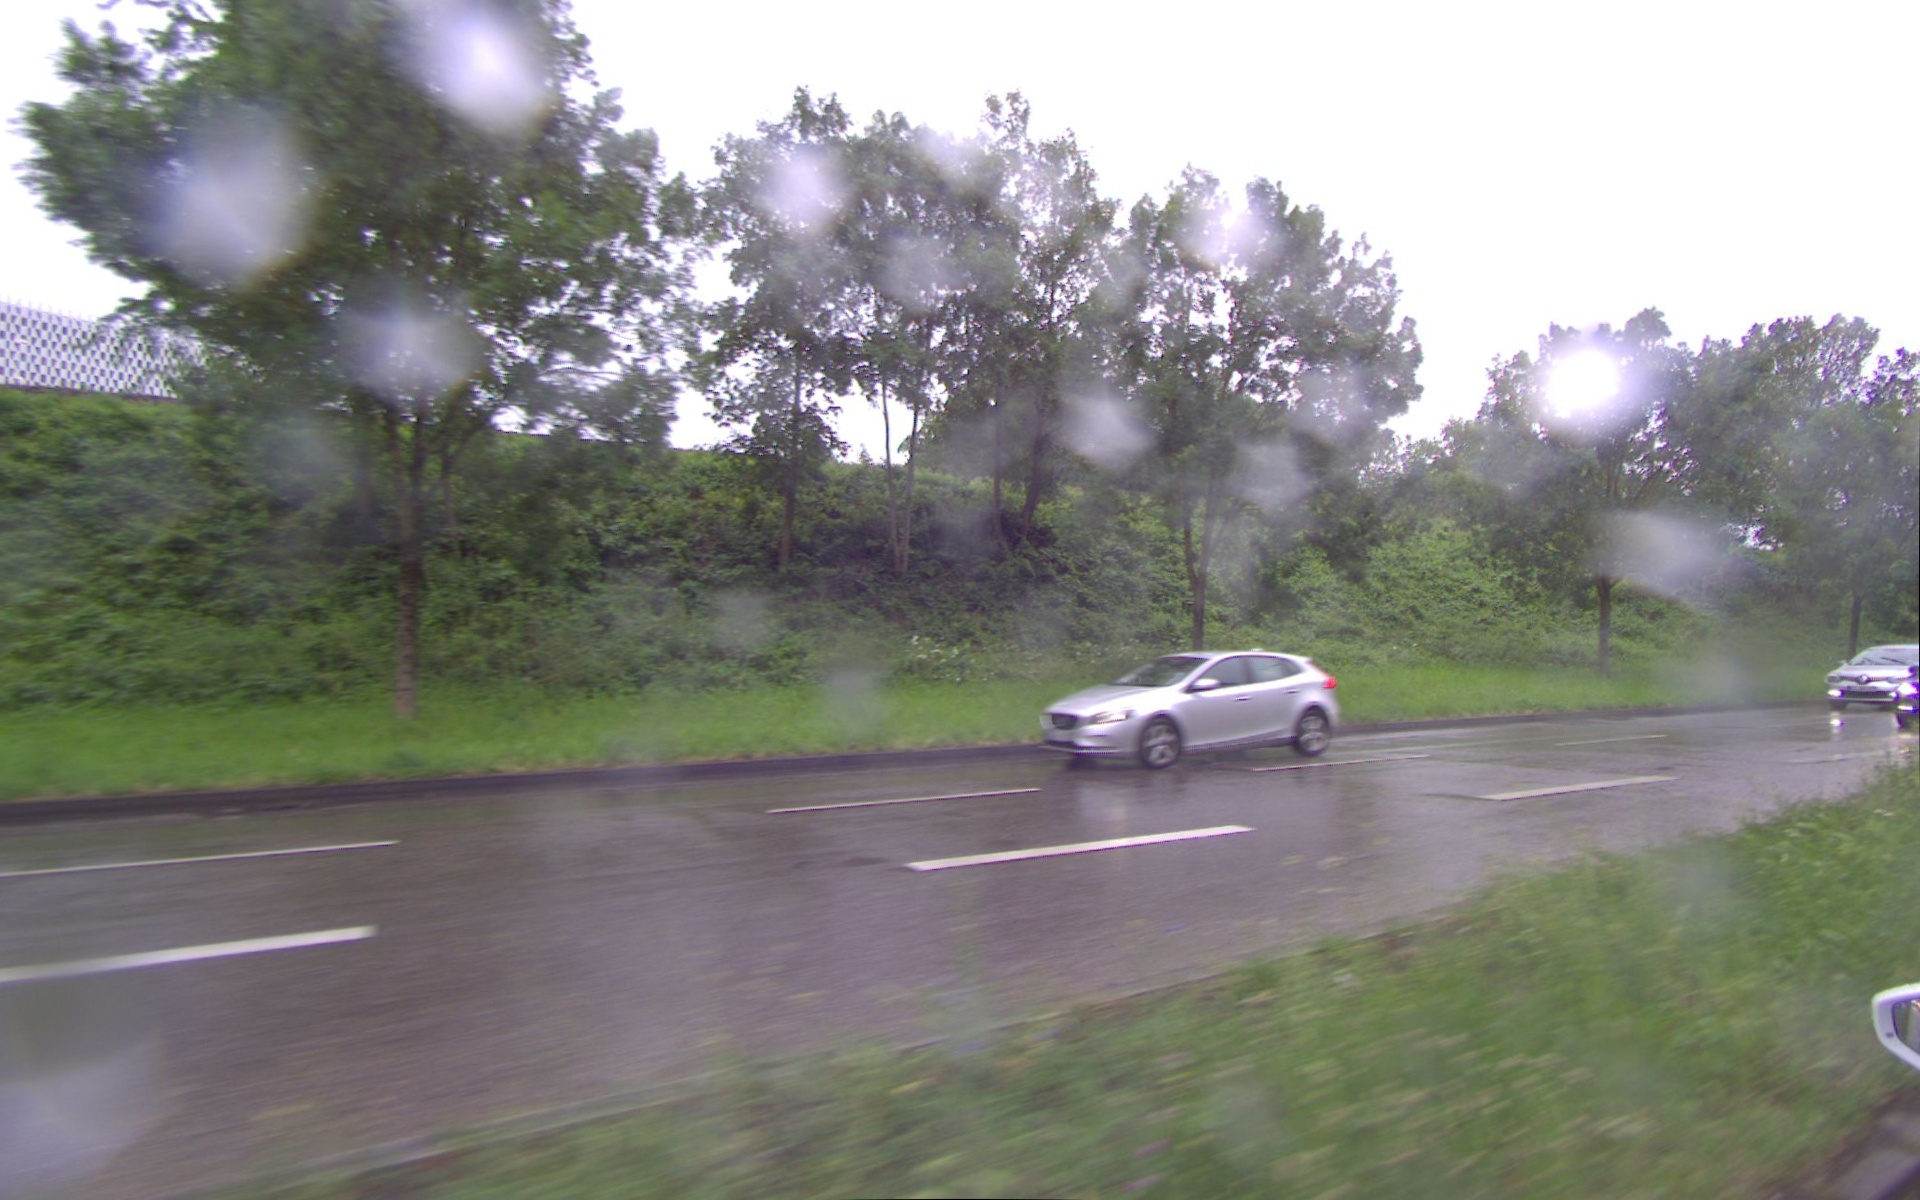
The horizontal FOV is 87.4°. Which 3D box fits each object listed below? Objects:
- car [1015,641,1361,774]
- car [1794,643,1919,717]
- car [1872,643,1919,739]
[{"bbox_3d":[3.071,1.332,13.387,4.384,1.521,1.829,2,-3,-28],"label":"car"},{"bbox_3d":[21.991,1.856,23.676,4.650,1.594,1.902,2,-5,-28],"label":"car"},{"bbox_3d":[18.082,1.570,17.711,4.660,1.594,1.897,2,-4,-34],"label":"car"}]
